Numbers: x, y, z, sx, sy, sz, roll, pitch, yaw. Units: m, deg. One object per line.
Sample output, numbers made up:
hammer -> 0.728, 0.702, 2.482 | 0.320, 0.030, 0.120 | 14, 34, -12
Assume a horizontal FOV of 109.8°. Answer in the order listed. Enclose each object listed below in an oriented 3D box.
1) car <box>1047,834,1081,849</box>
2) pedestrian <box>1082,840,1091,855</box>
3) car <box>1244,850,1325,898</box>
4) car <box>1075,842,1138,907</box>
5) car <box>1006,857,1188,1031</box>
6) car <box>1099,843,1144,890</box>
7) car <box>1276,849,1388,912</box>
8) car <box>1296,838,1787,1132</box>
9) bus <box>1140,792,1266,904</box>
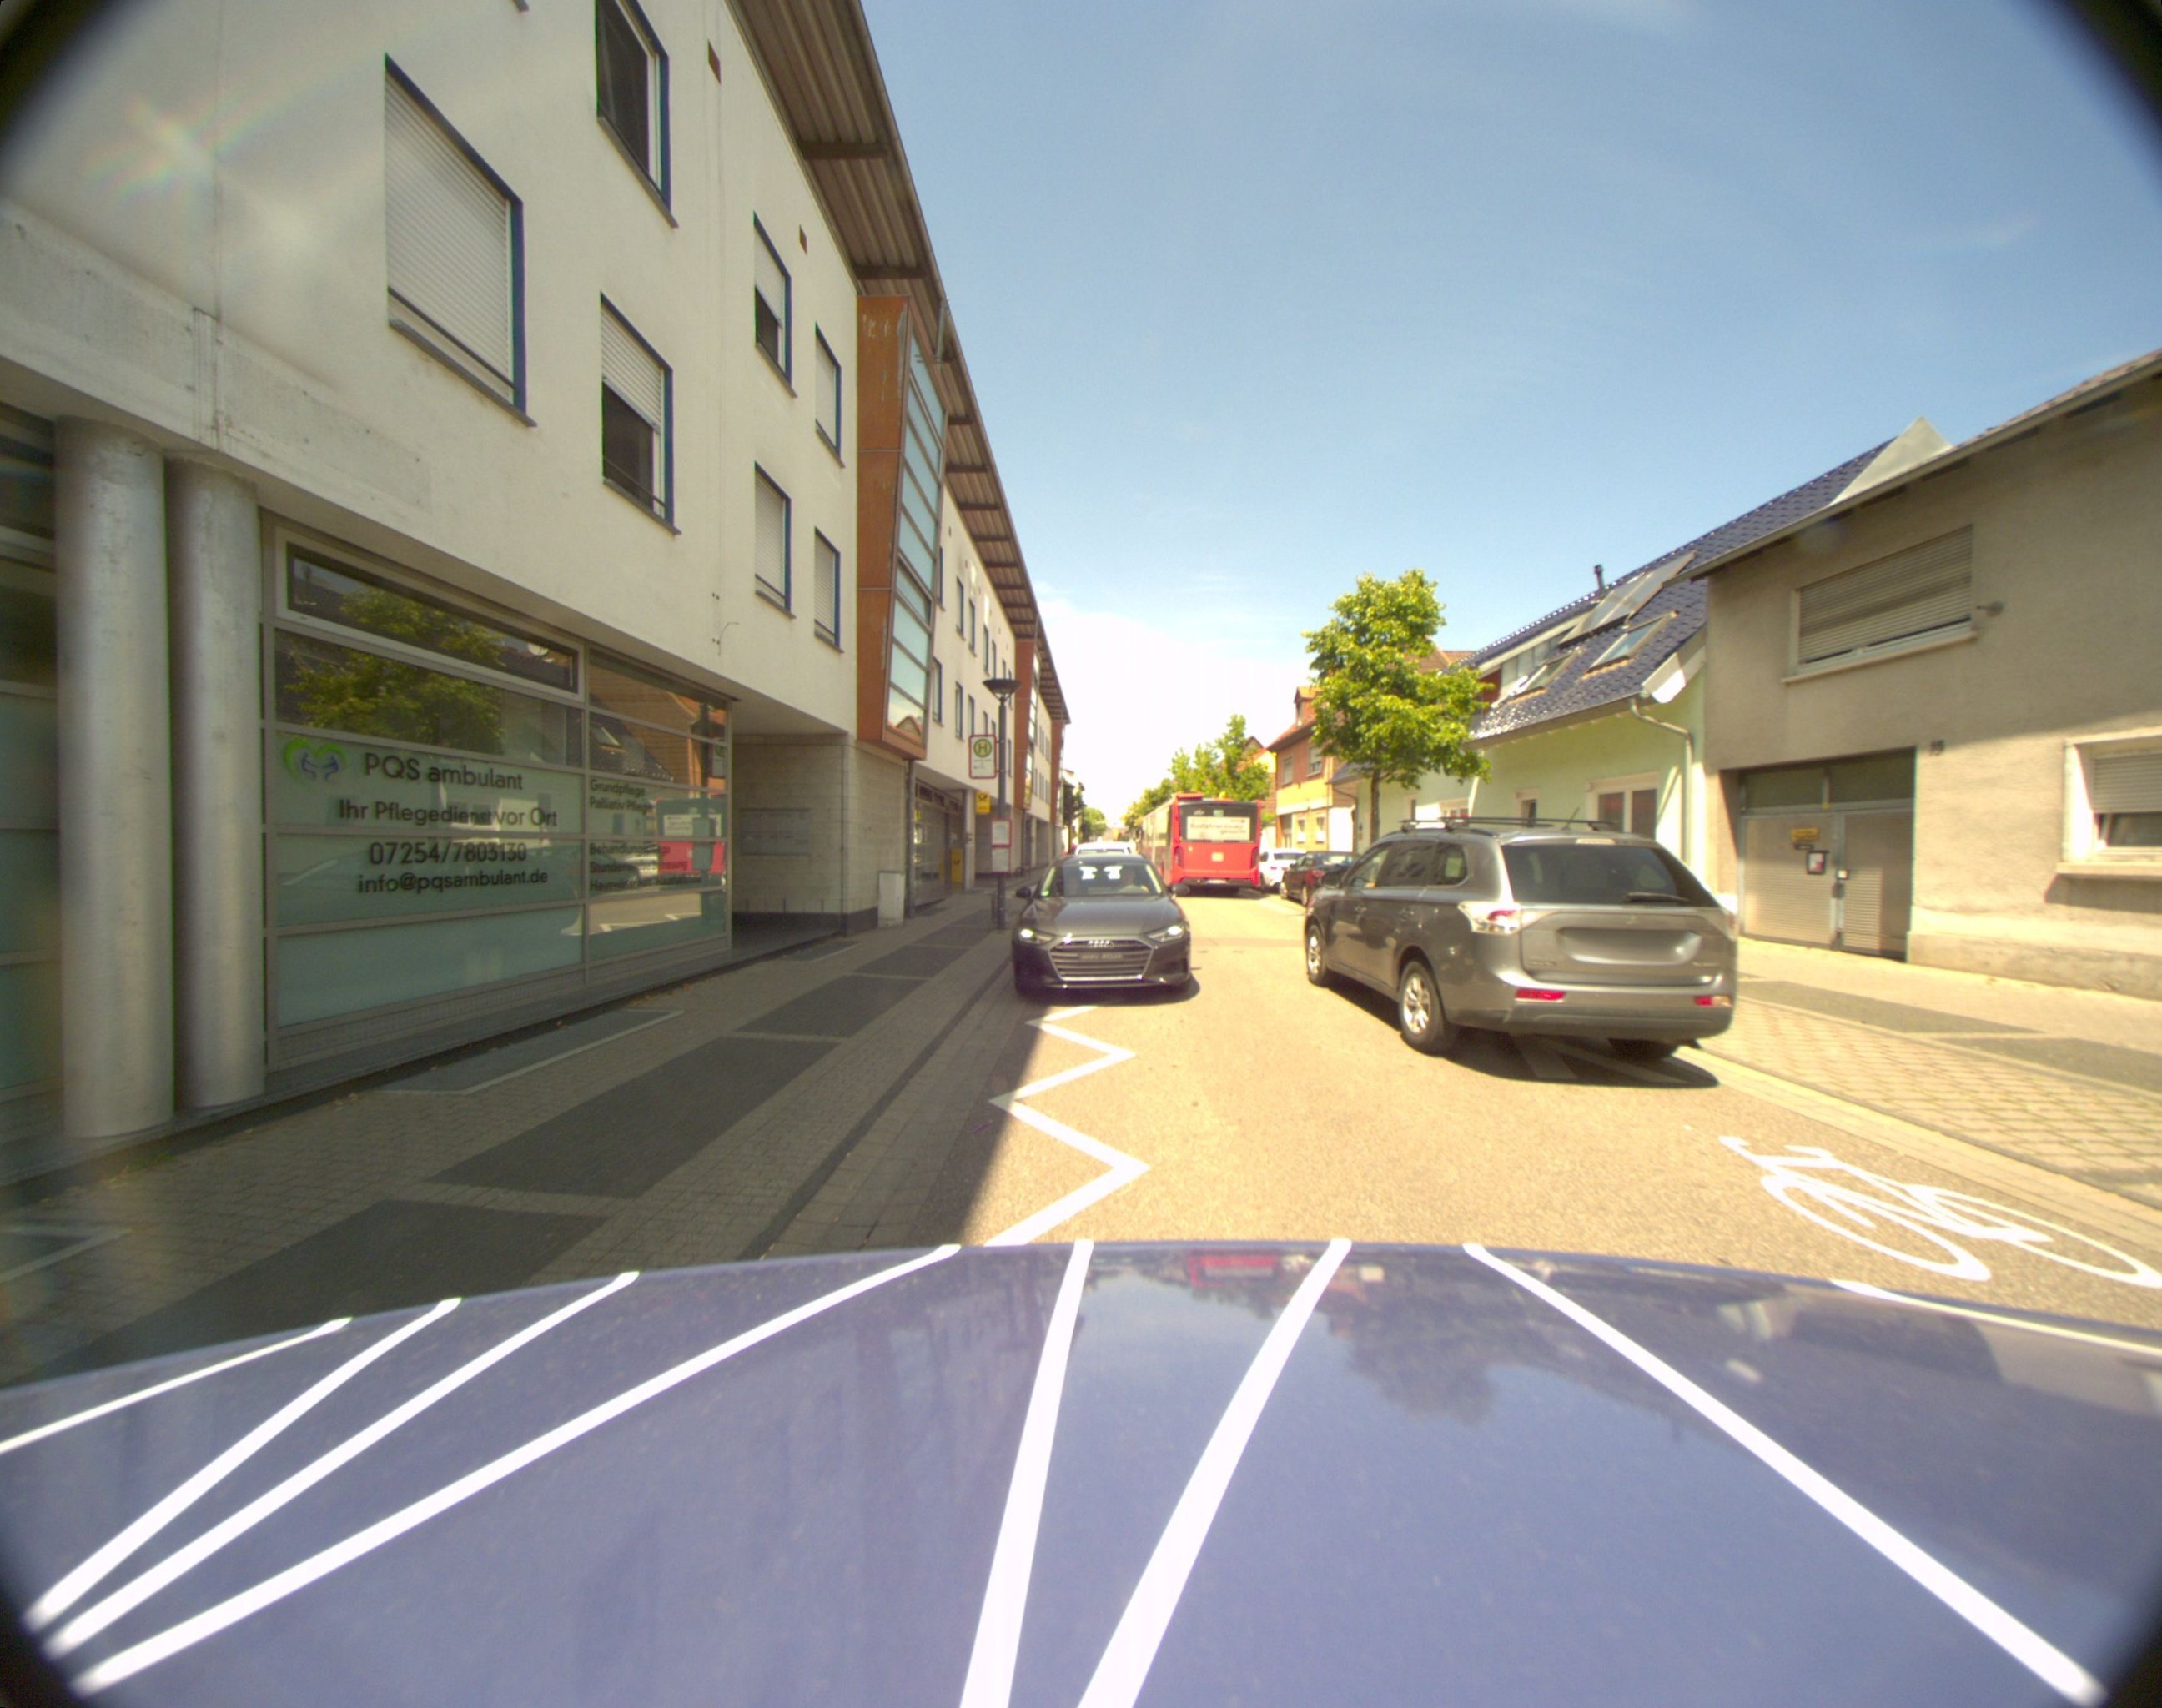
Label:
car -> -2.089, -1.602, 96.970 | 4.203, 1.849, 2.000 | 1, 1, 2
pedestrian -> 0.624, -0.686, 79.678 | 0.825, 1.579, 0.919 | 3, 2, 2
car -> 6.709, 0.601, 25.461 | 1.724, 1.428, 4.459 | 0, 1, 3
car -> 0.712, 0.492, 21.278 | 1.581, 1.620, 4.065 | 1, 1, 2
car -> 0.210, 0.804, 8.683 | 1.581, 1.424, 4.065 | -1, 1, 2
car -> 1.484, 0.423, 28.758 | 1.581, 1.620, 4.065 | 1, 1, 2
car -> 6.454, 0.607, 20.074 | 1.664, 1.428, 4.538 | 0, 1, 3
car -> 3.257, 0.726, 6.519 | 1.679, 1.706, 4.231 | 0, 1, 1
bus -> 4.143, -0.331, 30.492 | 2.675, 3.106, 17.805 | 2, 1, 2
